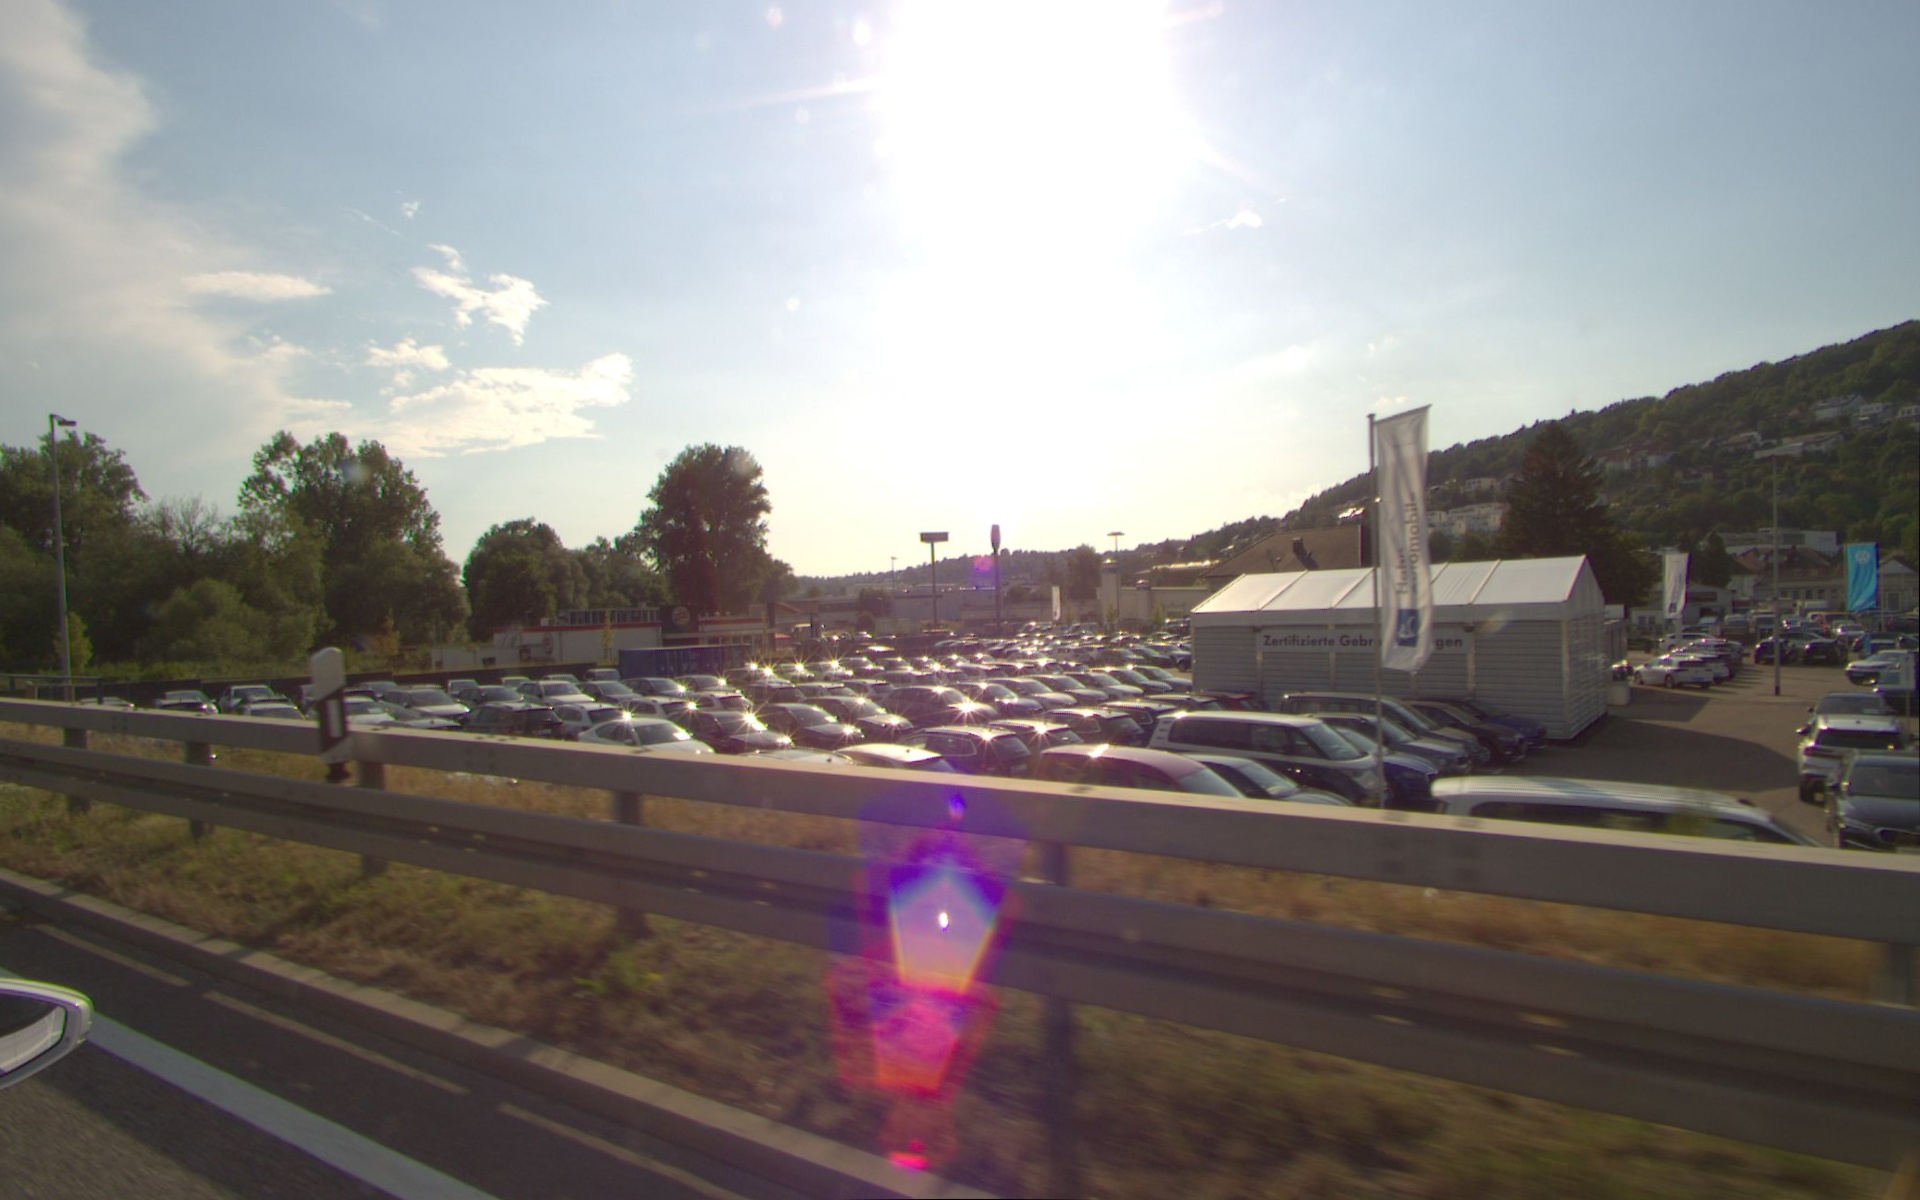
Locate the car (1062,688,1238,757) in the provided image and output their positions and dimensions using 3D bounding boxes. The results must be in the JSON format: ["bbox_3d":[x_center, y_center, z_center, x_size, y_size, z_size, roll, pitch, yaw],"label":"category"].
[{"bbox_3d":[5.438,3.468,28.972,4.670,1.657,1.873,-2,-2,38],"label":"car"}]

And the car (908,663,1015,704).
[{"bbox_3d":[0.022,3.744,45.211,4.670,1.657,1.873,-2,-2,37],"label":"car"}]

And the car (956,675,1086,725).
[{"bbox_3d":[2.271,3.742,38.009,4.670,1.657,1.873,-2,-2,37],"label":"car"}]

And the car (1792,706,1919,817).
[{"bbox_3d":[18.170,3.162,20.332,1.863,1.657,4.408,-2,-2,39],"label":"car"}]

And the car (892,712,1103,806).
[{"bbox_3d":[0.788,3.578,23.177,4.670,1.657,1.873,-2,-2,38],"label":"car"}]

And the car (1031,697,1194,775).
[{"bbox_3d":[4.013,3.549,26.667,3.951,1.705,1.768,-2,-2,38],"label":"car"}]

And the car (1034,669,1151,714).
[{"bbox_3d":[5.466,3.748,41.706,4.516,1.657,1.873,-2,-2,37],"label":"car"}]

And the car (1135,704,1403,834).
[{"bbox_3d":[5.935,3.162,19.615,4.678,1.955,1.870,-2,-2,42],"label":"car"}]

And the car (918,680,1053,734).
[{"bbox_3d":[0.860,3.788,36.118,4.670,1.657,1.873,-2,-2,37],"label":"car"}]

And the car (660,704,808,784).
[{"bbox_3d":[-6.036,3.746,26.564,3.951,1.705,1.768,-2,-2,38],"label":"car"}]

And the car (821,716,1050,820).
[{"bbox_3d":[-0.584,3.435,21.161,4.667,1.657,1.874,-2,-2,36],"label":"car"}]

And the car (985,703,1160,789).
[{"bbox_3d":[2.715,3.494,24.572,3.951,1.705,1.768,-2,-2,38],"label":"car"}]

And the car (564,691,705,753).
[{"bbox_3d":[-10.518,3.867,32.227,4.665,1.657,1.875,-2,-2,34],"label":"car"}]

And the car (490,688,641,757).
[{"bbox_3d":[-11.940,3.625,30.208,4.599,1.738,1.833,-2,-2,31],"label":"car"}]

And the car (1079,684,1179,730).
[{"bbox_3d":[7.303,4.592,43.455,3.951,1.705,1.768,-2,-2,38],"label":"car"}]

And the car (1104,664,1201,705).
[{"bbox_3d":[8.695,3.783,45.437,3.951,1.705,1.768,-2,-2,38],"label":"car"}]

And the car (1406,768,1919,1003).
[{"bbox_3d":[7.350,2.849,10.659,4.656,1.646,1.879,-2,-2,27],"label":"car"}]

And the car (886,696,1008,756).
[{"bbox_3d":[-0.478,4.237,34.050,3.951,1.705,1.768,-2,-2,38],"label":"car"}]

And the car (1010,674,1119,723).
[{"bbox_3d":[4.106,3.841,39.676,3.951,1.705,1.768,-2,-2,38],"label":"car"}]

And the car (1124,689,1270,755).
[{"bbox_3d":[7.189,3.651,30.529,3.951,1.705,1.768,-2,-2,38],"label":"car"}]

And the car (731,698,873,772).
[{"bbox_3d":[-4.487,3.721,28.194,3.951,1.705,1.768,-2,-2,38],"label":"car"}]

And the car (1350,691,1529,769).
[{"bbox_3d":[12.538,3.340,26.285,3.951,1.705,1.768,-2,-2,38],"label":"car"}]

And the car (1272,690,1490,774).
[{"bbox_3d":[10.386,3.191,24.935,4.678,1.657,1.870,-2,-2,42],"label":"car"}]

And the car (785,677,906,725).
[{"bbox_3d":[-4.545,3.945,39.533,4.666,1.657,1.875,-2,-2,35],"label":"car"}]

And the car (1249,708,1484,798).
[{"bbox_3d":[9.260,3.427,23.066,4.678,1.541,1.870,-2,-2,42],"label":"car"}]

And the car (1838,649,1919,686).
[{"bbox_3d":[44.895,3.198,47.953,4.355,1.657,1.886,0,-1,-7],"label":"car"}]

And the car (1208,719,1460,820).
[{"bbox_3d":[7.838,3.498,21.303,4.678,1.541,1.870,-2,-2,42],"label":"car"}]

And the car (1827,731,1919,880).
[{"bbox_3d":[14.865,3.108,15.588,1.863,1.657,4.408,-2,-2,39],"label":"car"}]

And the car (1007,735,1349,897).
[{"bbox_3d":[3.150,3.060,14.997,4.670,1.646,1.873,-2,-2,37],"label":"car"}]

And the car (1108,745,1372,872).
[{"bbox_3d":[4.617,3.378,16.793,3.951,1.490,1.663,-2,-2,38],"label":"car"}]

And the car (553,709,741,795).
[{"bbox_3d":[-7.763,3.652,24.694,4.663,1.657,1.876,-2,-2,33],"label":"car"}]

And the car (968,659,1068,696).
[{"bbox_3d":[2.821,3.747,49.115,4.670,1.657,1.873,-2,-2,37],"label":"car"}]

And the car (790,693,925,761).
[{"bbox_3d":[-3.132,3.751,30.177,3.951,1.705,1.768,-2,-2,38],"label":"car"}]

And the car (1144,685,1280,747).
[{"bbox_3d":[8.205,3.734,32.738,3.951,1.705,1.768,-2,-2,38],"label":"car"}]

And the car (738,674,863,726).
[{"bbox_3d":[-5.984,3.678,37.321,4.668,1.657,1.874,-2,-2,36],"label":"car"}]

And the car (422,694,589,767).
[{"bbox_3d":[-12.734,3.572,28.003,4.661,1.671,1.996,-2,-2,31],"label":"car"}]

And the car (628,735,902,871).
[{"bbox_3d":[-3.411,3.339,17.164,4.664,1.646,1.876,-2,-2,34],"label":"car"}]

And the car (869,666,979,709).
[{"bbox_3d":[-1.597,3.747,43.497,4.670,1.657,1.873,-2,-2,37],"label":"car"}]

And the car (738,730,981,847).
[{"bbox_3d":[-2.041,3.552,19.553,4.668,1.657,1.874,-2,-2,36],"label":"car"}]
